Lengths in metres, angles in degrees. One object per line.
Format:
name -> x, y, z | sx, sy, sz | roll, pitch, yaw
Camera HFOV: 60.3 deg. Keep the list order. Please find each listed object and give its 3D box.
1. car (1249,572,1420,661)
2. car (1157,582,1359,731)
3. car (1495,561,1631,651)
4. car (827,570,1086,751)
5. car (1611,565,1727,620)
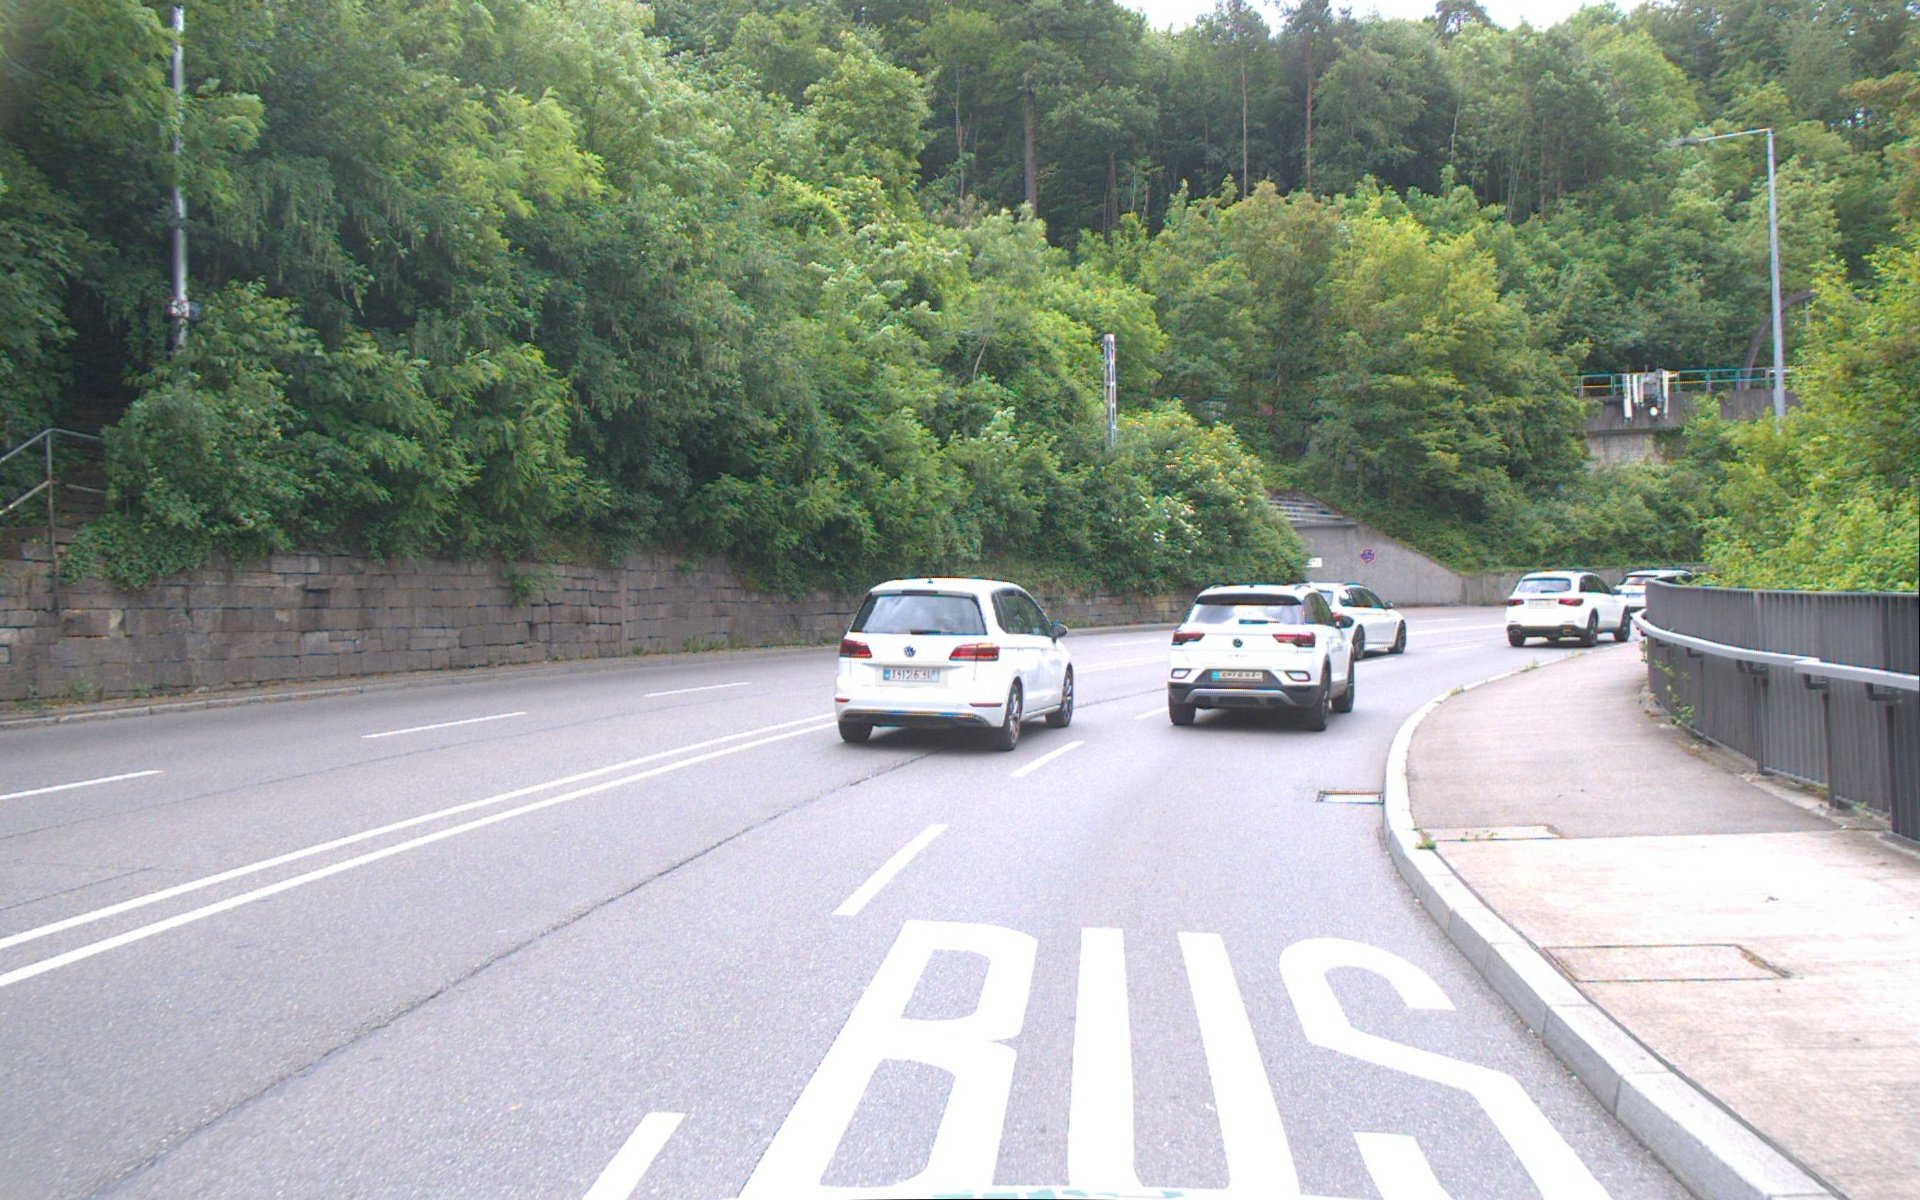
car -> 7.677, 0.314, 33.554 | 1.958, 1.584, 4.670 | 4, 2, 31
car -> 3.618, 0.606, 19.542 | 1.776, 1.566, 4.010 | -1, 0, 19
car -> 13.868, 0.170, 37.892 | 1.959, 1.875, 4.137 | 2, -1, 34
car -> 0.113, 0.542, 16.974 | 1.683, 1.581, 4.279 | 1, 0, 13
car -> 22.589, -0.226, 52.611 | 4.270, 1.545, 1.721 | 3, -1, -41
